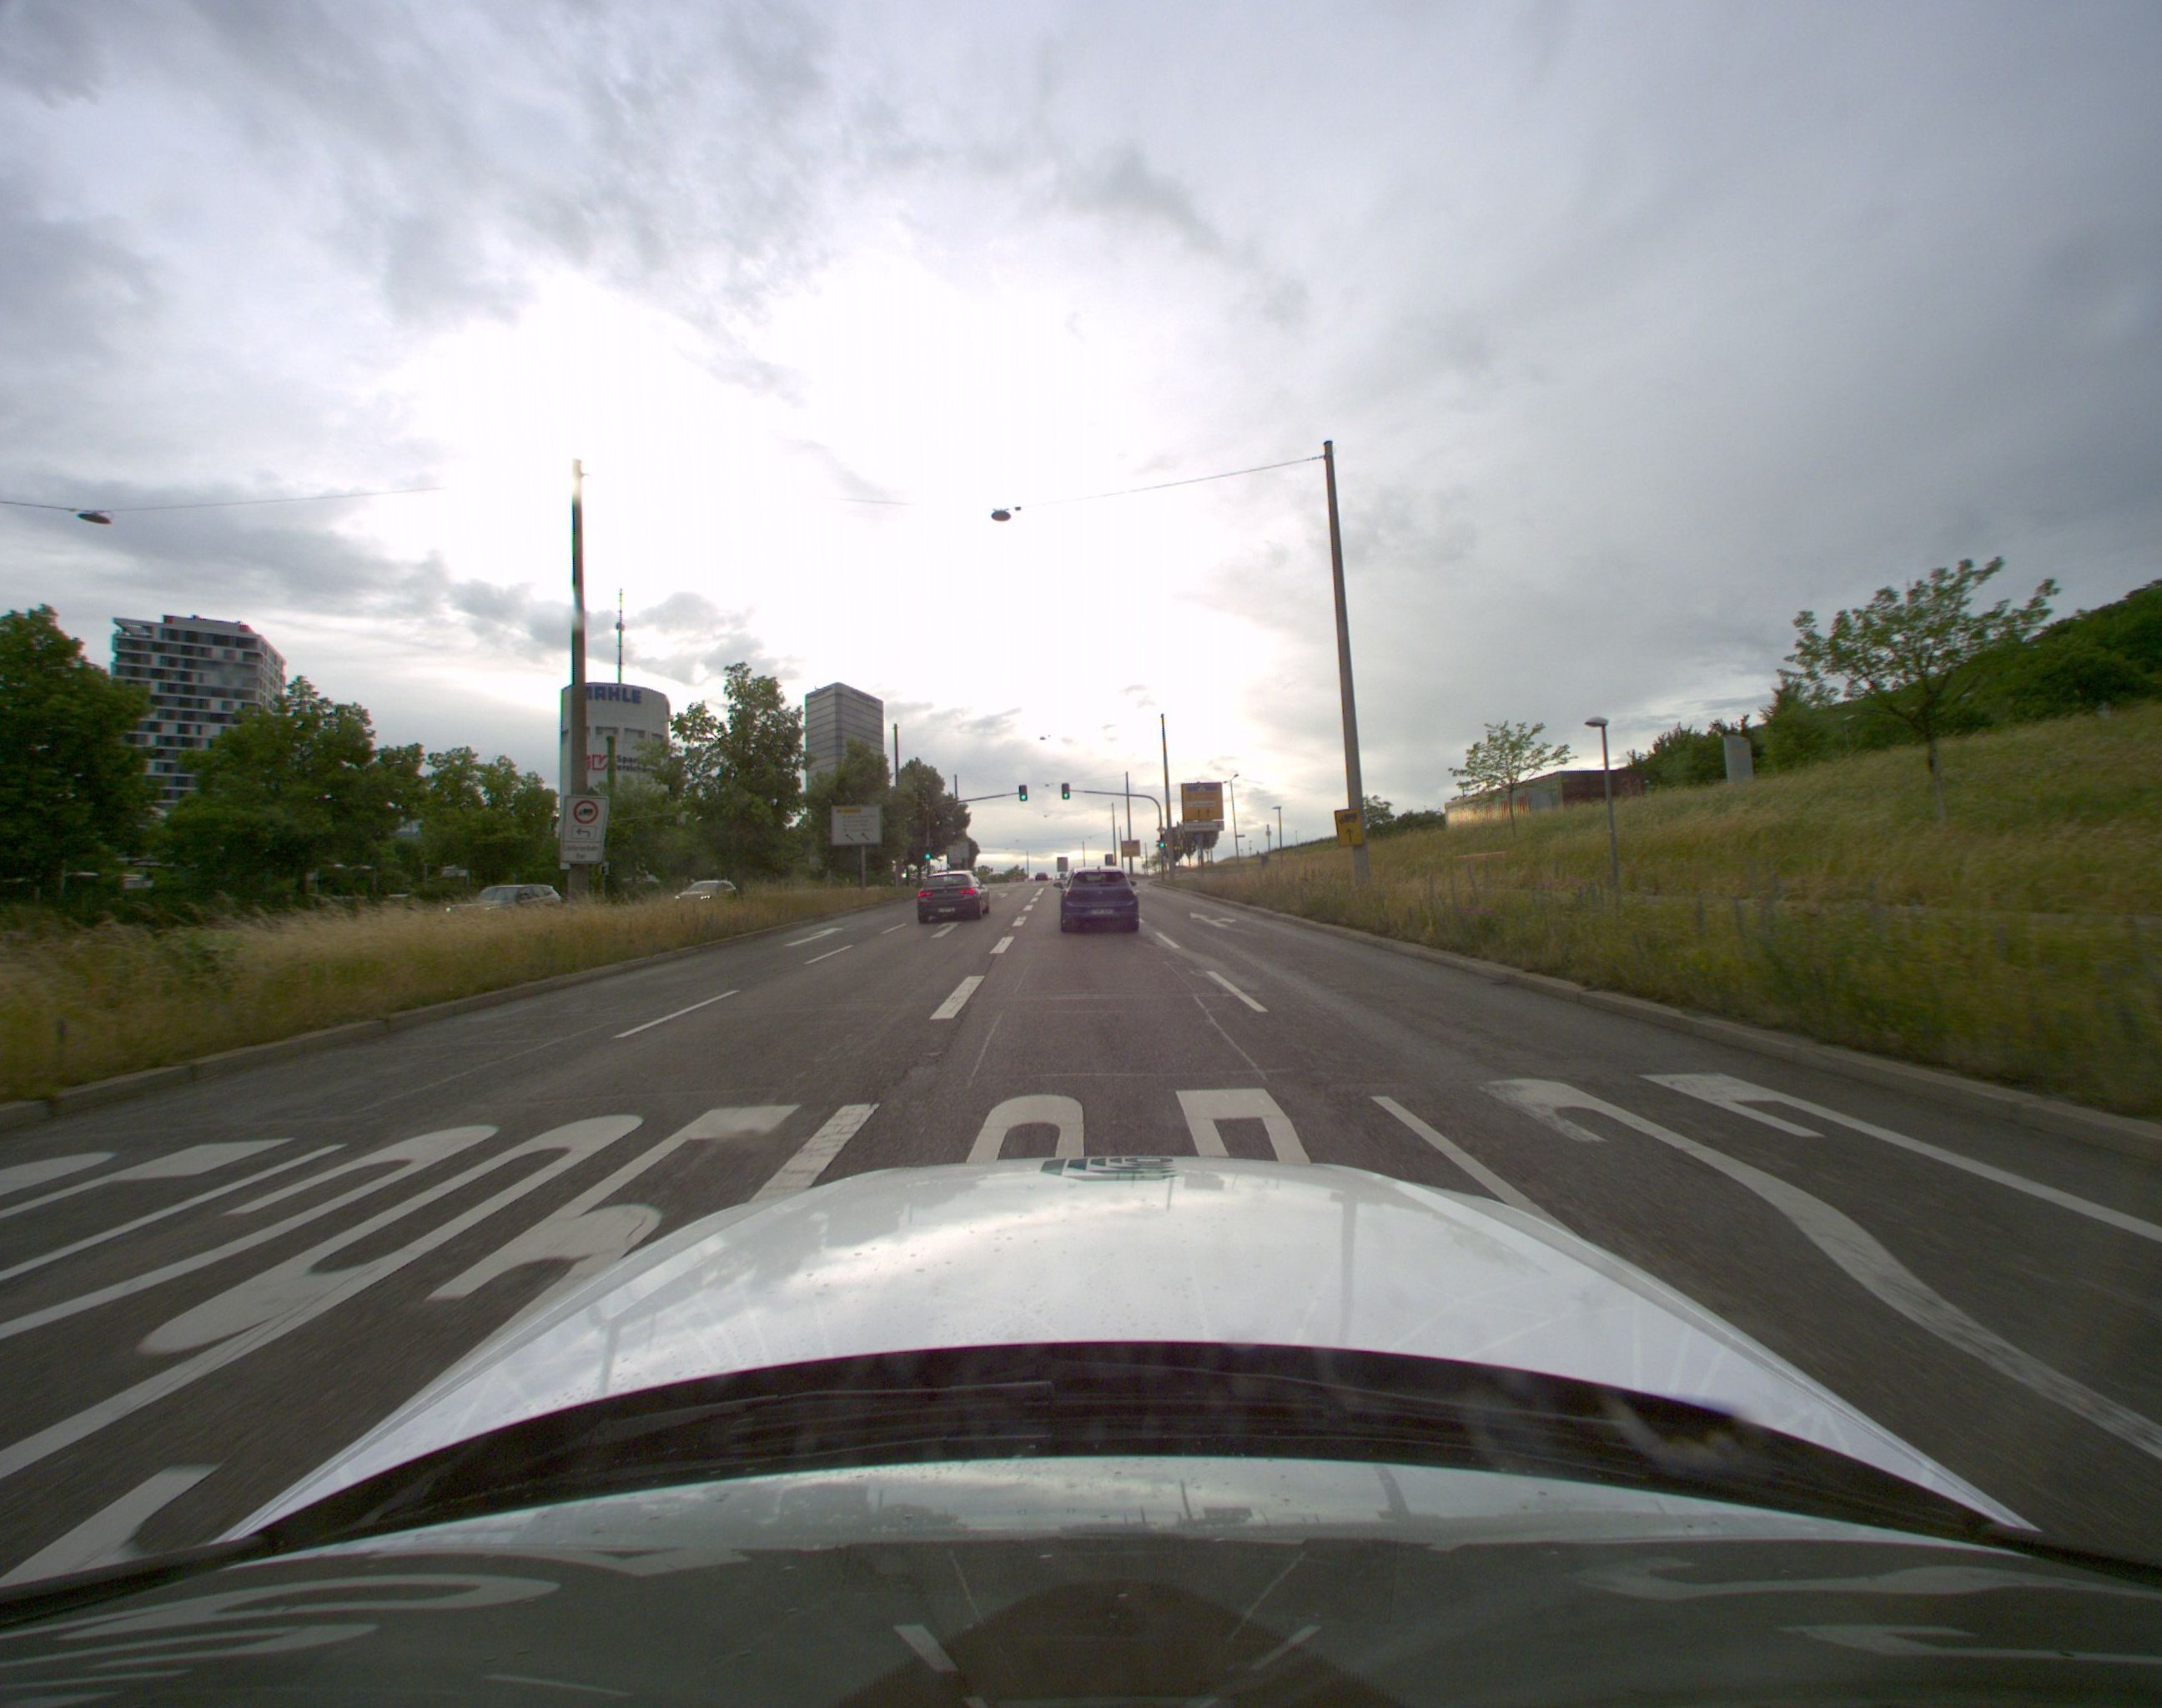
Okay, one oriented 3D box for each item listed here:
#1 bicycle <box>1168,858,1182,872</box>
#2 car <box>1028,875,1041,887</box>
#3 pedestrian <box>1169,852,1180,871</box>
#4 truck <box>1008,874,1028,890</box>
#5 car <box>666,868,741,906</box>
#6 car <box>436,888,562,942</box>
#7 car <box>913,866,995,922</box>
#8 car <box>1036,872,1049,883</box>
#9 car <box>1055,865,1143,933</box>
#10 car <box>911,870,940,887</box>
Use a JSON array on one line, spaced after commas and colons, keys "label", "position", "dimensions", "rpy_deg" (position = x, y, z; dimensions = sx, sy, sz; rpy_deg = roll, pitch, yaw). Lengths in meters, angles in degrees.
[{"label": "bicycle", "position": [7.850, 0.959, 68.297], "dimensions": [0.632, 1.105, 1.747], "rpy_deg": [-3, -1, -9]}, {"label": "car", "position": [-9.113, 5.343, 159.106], "dimensions": [1.904, 1.973, 5.075], "rpy_deg": [-3, -4, -9]}, {"label": "pedestrian", "position": [7.839, 0.628, 68.204], "dimensions": [0.632, 1.571, 0.893], "rpy_deg": [-3, -1, -9]}, {"label": "truck", "position": [-13.614, 6.041, 175.060], "dimensions": [2.674, 3.221, 6.506], "rpy_deg": [0, -4, -18]}, {"label": "car", "position": [-18.372, 1.563, 39.845], "dimensions": [1.990, 1.639, 4.012], "rpy_deg": [-2, 0, -5]}, {"label": "car", "position": [-20.951, 2.138, 29.532], "dimensions": [1.858, 1.620, 3.993], "rpy_deg": [-2, 0, -5]}, {"label": "car", "position": [-3.667, 1.119, 24.226], "dimensions": [1.864, 1.461, 3.973], "rpy_deg": [-2, -1, -2]}, {"label": "car", "position": [-5.410, 3.272, 114.539], "dimensions": [1.717, 1.541, 3.700], "rpy_deg": [0, -1, -2]}, {"label": "car", "position": [0.377, 0.976, 19.362], "dimensions": [1.832, 1.393, 3.998], "rpy_deg": [-2, -1, -1]}, {"label": "car", "position": [-14.913, 2.330, 78.106], "dimensions": [1.898, 1.507, 3.969], "rpy_deg": [-1, 1, -23]}]
